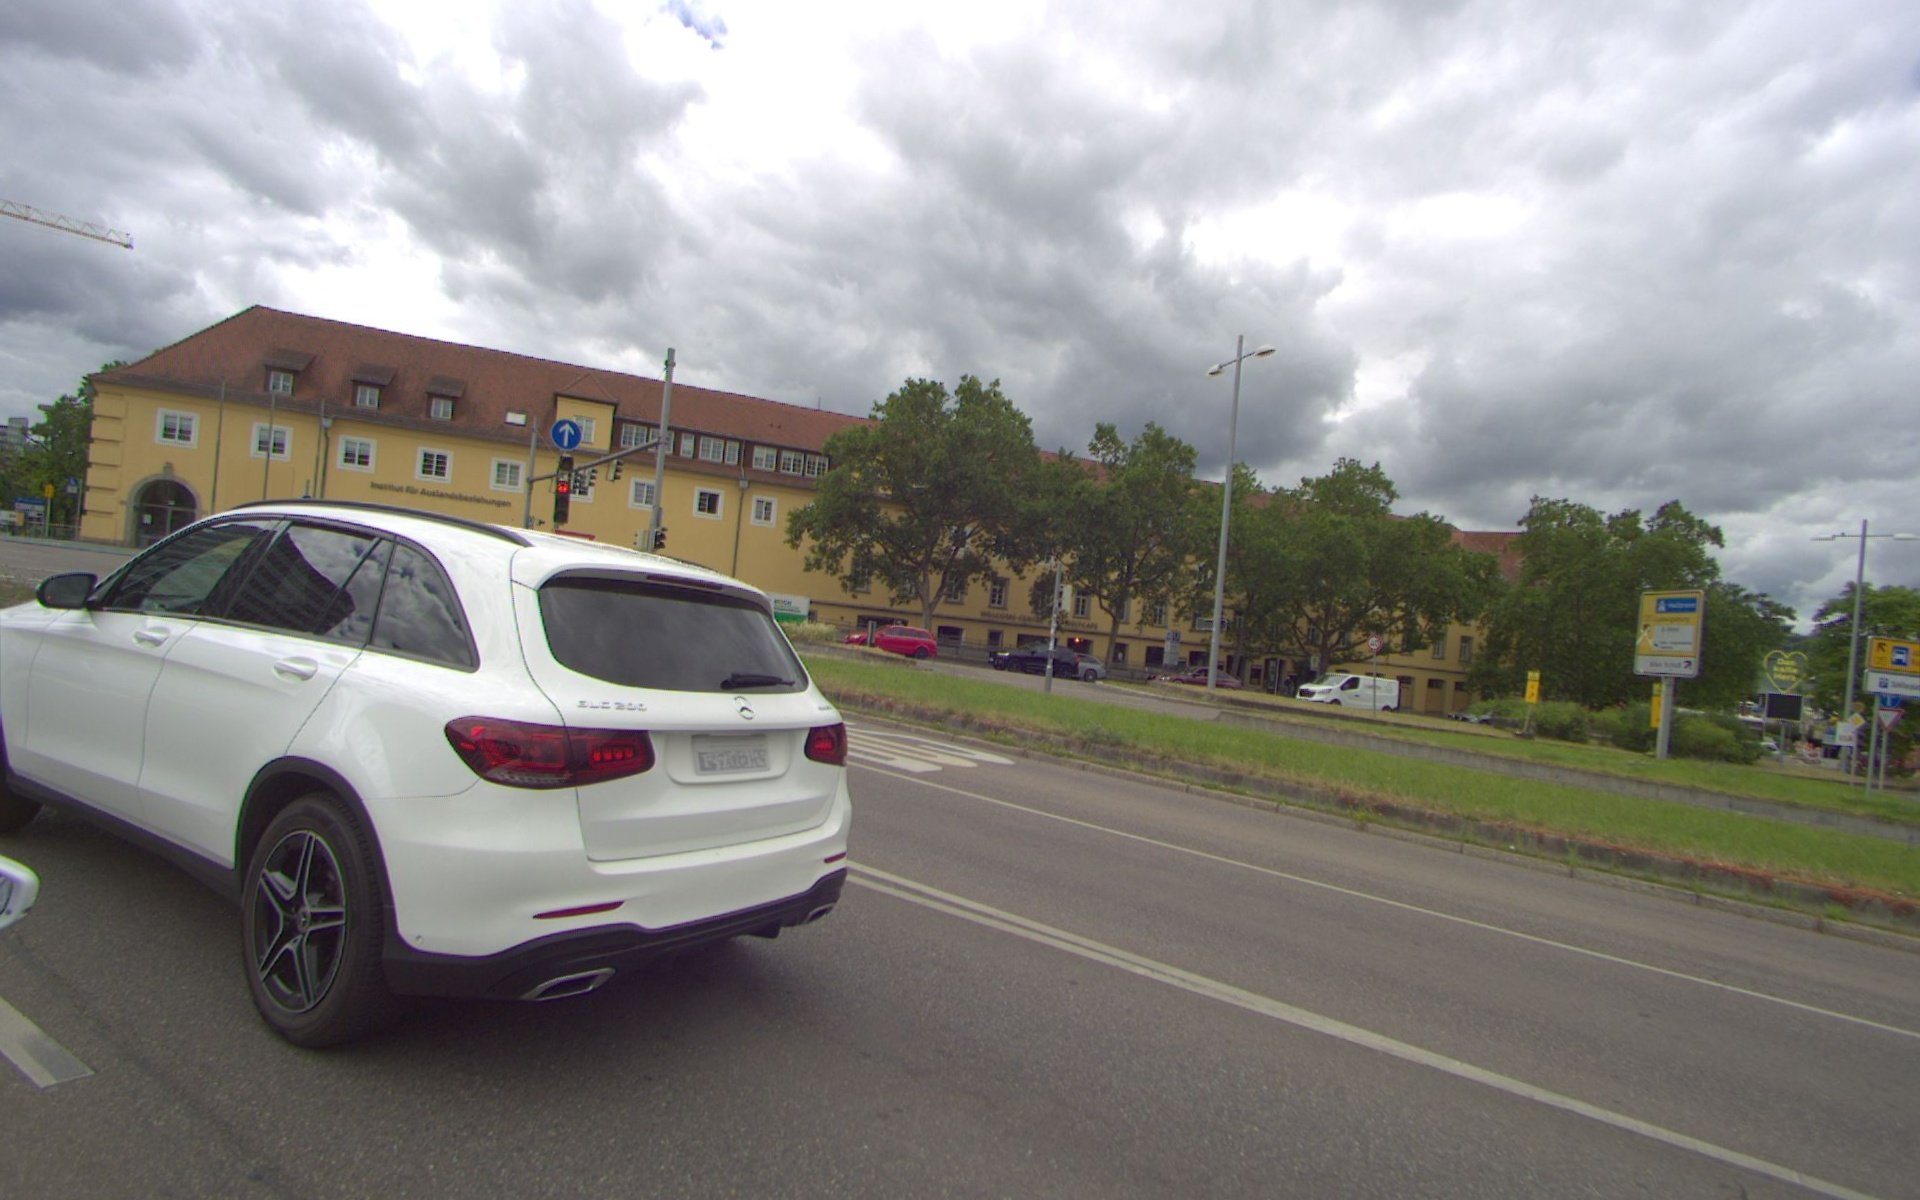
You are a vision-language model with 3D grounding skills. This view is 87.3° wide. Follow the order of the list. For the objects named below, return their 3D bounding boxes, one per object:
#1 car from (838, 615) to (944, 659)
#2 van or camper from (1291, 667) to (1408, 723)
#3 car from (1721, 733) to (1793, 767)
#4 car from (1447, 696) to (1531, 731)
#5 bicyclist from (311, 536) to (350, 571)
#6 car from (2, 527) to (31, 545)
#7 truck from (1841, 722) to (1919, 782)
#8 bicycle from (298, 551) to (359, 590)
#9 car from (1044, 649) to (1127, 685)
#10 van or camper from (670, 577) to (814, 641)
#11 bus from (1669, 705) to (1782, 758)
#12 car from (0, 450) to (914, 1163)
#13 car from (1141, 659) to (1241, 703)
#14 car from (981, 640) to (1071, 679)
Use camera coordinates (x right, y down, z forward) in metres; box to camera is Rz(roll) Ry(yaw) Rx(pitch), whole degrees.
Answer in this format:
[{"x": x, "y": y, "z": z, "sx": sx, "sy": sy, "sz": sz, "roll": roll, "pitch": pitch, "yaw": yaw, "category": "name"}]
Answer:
[{"x": -3.224, "y": 1.741, "z": 47.168, "sx": 4.630, "sy": 1.437, "sz": 1.589, "roll": 8, "pitch": -1, "yaw": -22, "category": "car"}, {"x": 17.856, "y": 4.363, "z": 46.045, "sx": 5.084, "sy": 1.914, "sz": 1.651, "roll": 8, "pitch": -1, "yaw": -21, "category": "van or camper"}, {"x": 46.052, "y": 8.660, "z": 58.095, "sx": 4.047, "sy": 1.430, "sz": 1.803, "roll": 8, "pitch": -1, "yaw": -30, "category": "car"}, {"x": 30.256, "y": 6.495, "z": 57.577, "sx": 4.492, "sy": 1.437, "sz": 1.651, "roll": 8, "pitch": -1, "yaw": -22, "category": "car"}, {"x": -24.106, "y": -1.784, "z": 38.542, "sx": 0.713, "sy": 1.172, "sz": 0.925, "roll": 7, "pitch": -1, "yaw": 32, "category": "bicyclist"}, {"x": -137.265, "y": -9.334, "z": 146.340, "sx": 3.935, "sy": 2.037, "sz": 1.996, "roll": 7, "pitch": -1, "yaw": 33, "category": "car"}, {"x": 64.725, "y": 10.627, "z": 69.832, "sx": 7.552, "sy": 3.409, "sz": 2.792, "roll": 8, "pitch": -1, "yaw": -30, "category": "truck"}, {"x": -24.186, "y": -1.136, "z": 38.531, "sx": 2.424, "sy": 1.172, "sz": 0.925, "roll": 7, "pitch": -2, "yaw": 32, "category": "bicycle"}, {"x": 6.792, "y": 3.630, "z": 54.536, "sx": 4.035, "sy": 1.430, "sz": 1.651, "roll": 8, "pitch": -1, "yaw": -22, "category": "car"}, {"x": -9.698, "y": 0.411, "z": 44.815, "sx": 5.937, "sy": 2.037, "sz": 2.012, "roll": 8, "pitch": -1, "yaw": -18, "category": "van or camper"}, {"x": 56.402, "y": 9.694, "z": 74.015, "sx": 9.556, "sy": 2.884, "sz": 2.554, "roll": 8, "pitch": -1, "yaw": -27, "category": "bus"}, {"x": -2.580, "y": 0.420, "z": 4.375, "sx": 4.304, "sy": 1.667, "sz": 1.823, "roll": 7, "pitch": -1, "yaw": 30, "category": "car"}, {"x": 10.563, "y": 3.715, "z": 46.033, "sx": 4.190, "sy": 1.437, "sz": 1.651, "roll": 8, "pitch": -1, "yaw": -22, "category": "car"}, {"x": 3.281, "y": 2.950, "z": 49.871, "sx": 4.035, "sy": 1.430, "sz": 1.651, "roll": 8, "pitch": -1, "yaw": -22, "category": "car"}]
